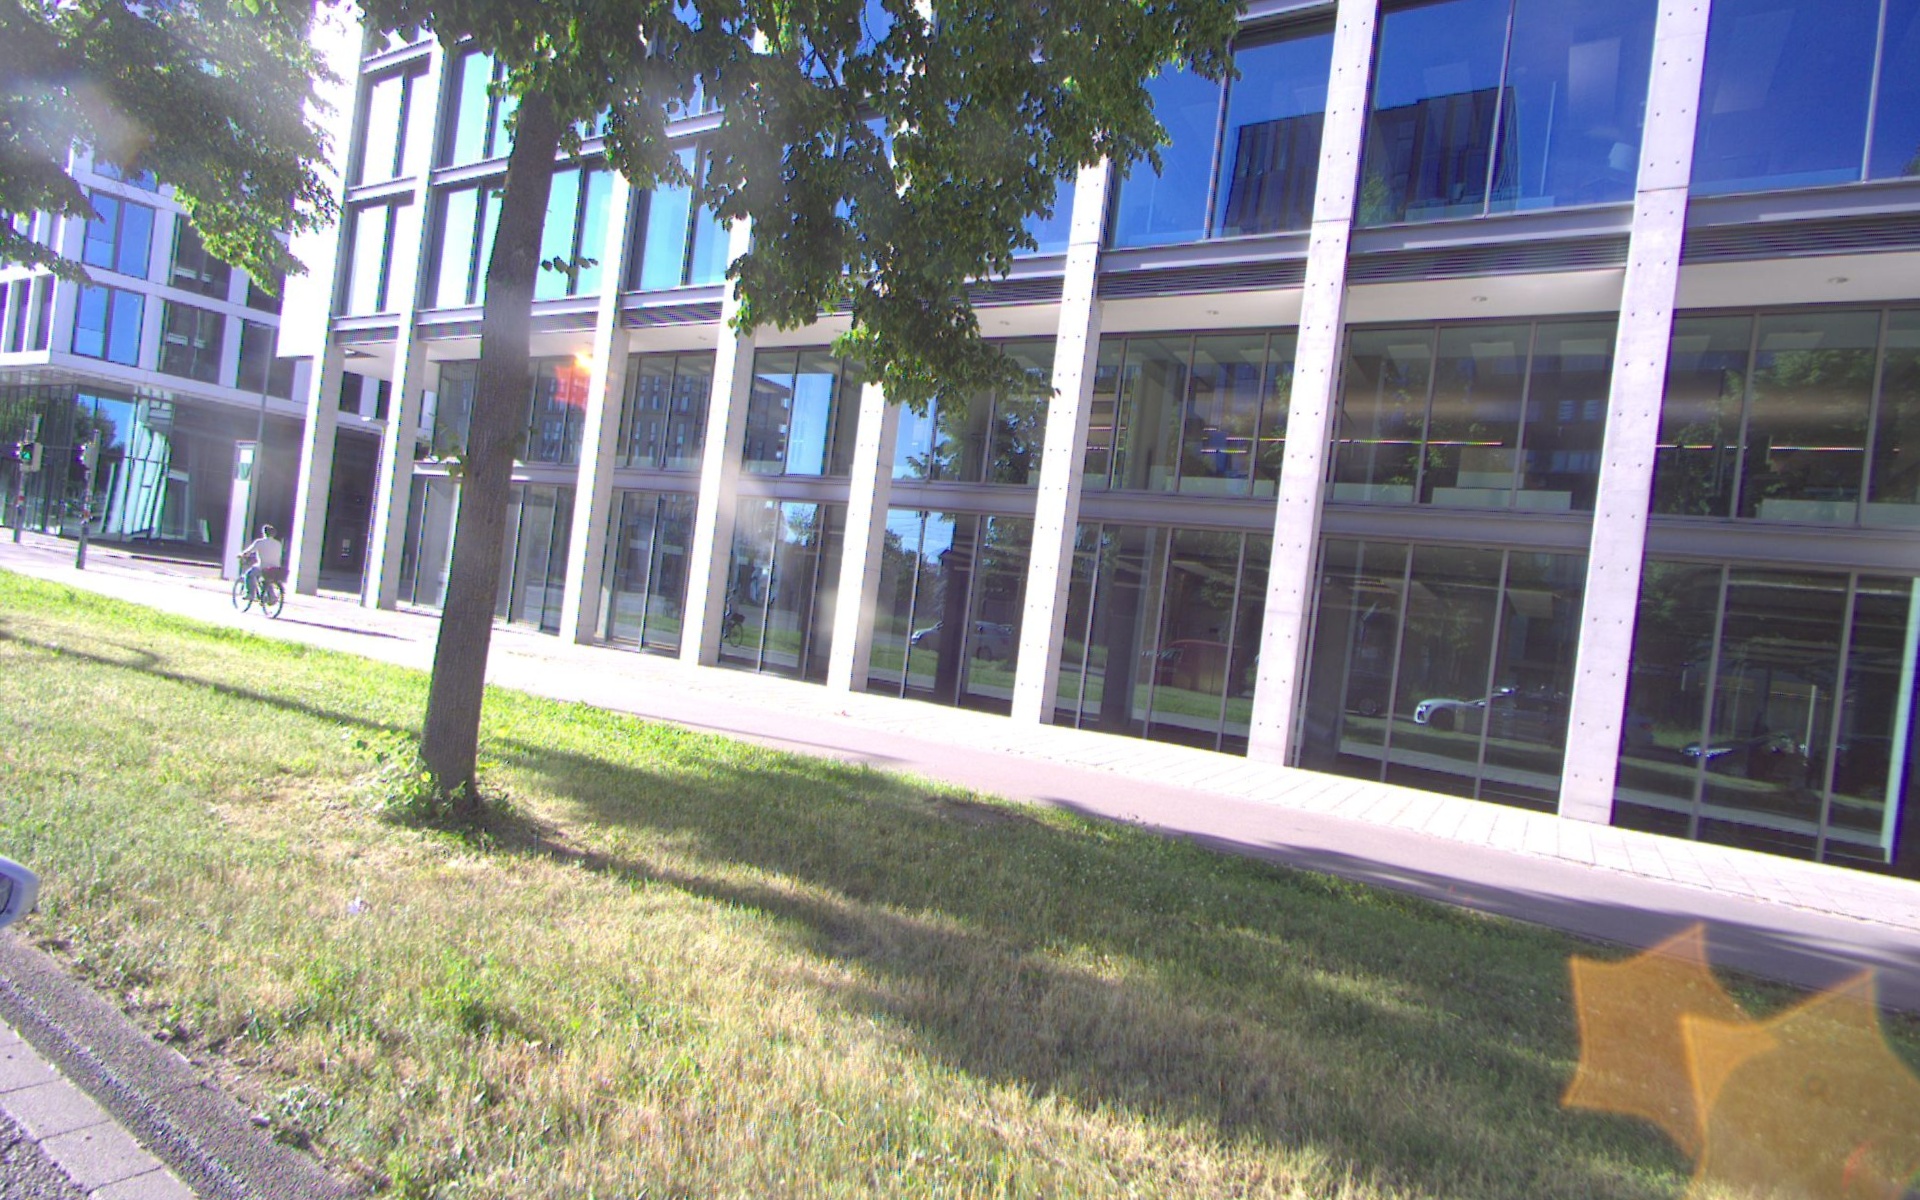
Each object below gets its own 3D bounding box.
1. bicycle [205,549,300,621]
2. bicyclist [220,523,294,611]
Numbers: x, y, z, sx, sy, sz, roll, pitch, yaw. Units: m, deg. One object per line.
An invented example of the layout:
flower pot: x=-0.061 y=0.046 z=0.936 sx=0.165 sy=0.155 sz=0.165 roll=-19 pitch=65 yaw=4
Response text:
bicycle: x=-13.681 y=-0.295 z=19.438 sx=1.929 sy=1.189 sz=0.742 roll=6 pitch=1 yaw=32
bicyclist: x=-13.560 y=-0.637 z=19.400 sx=0.835 sy=1.550 sz=0.772 roll=7 pitch=0 yaw=31
